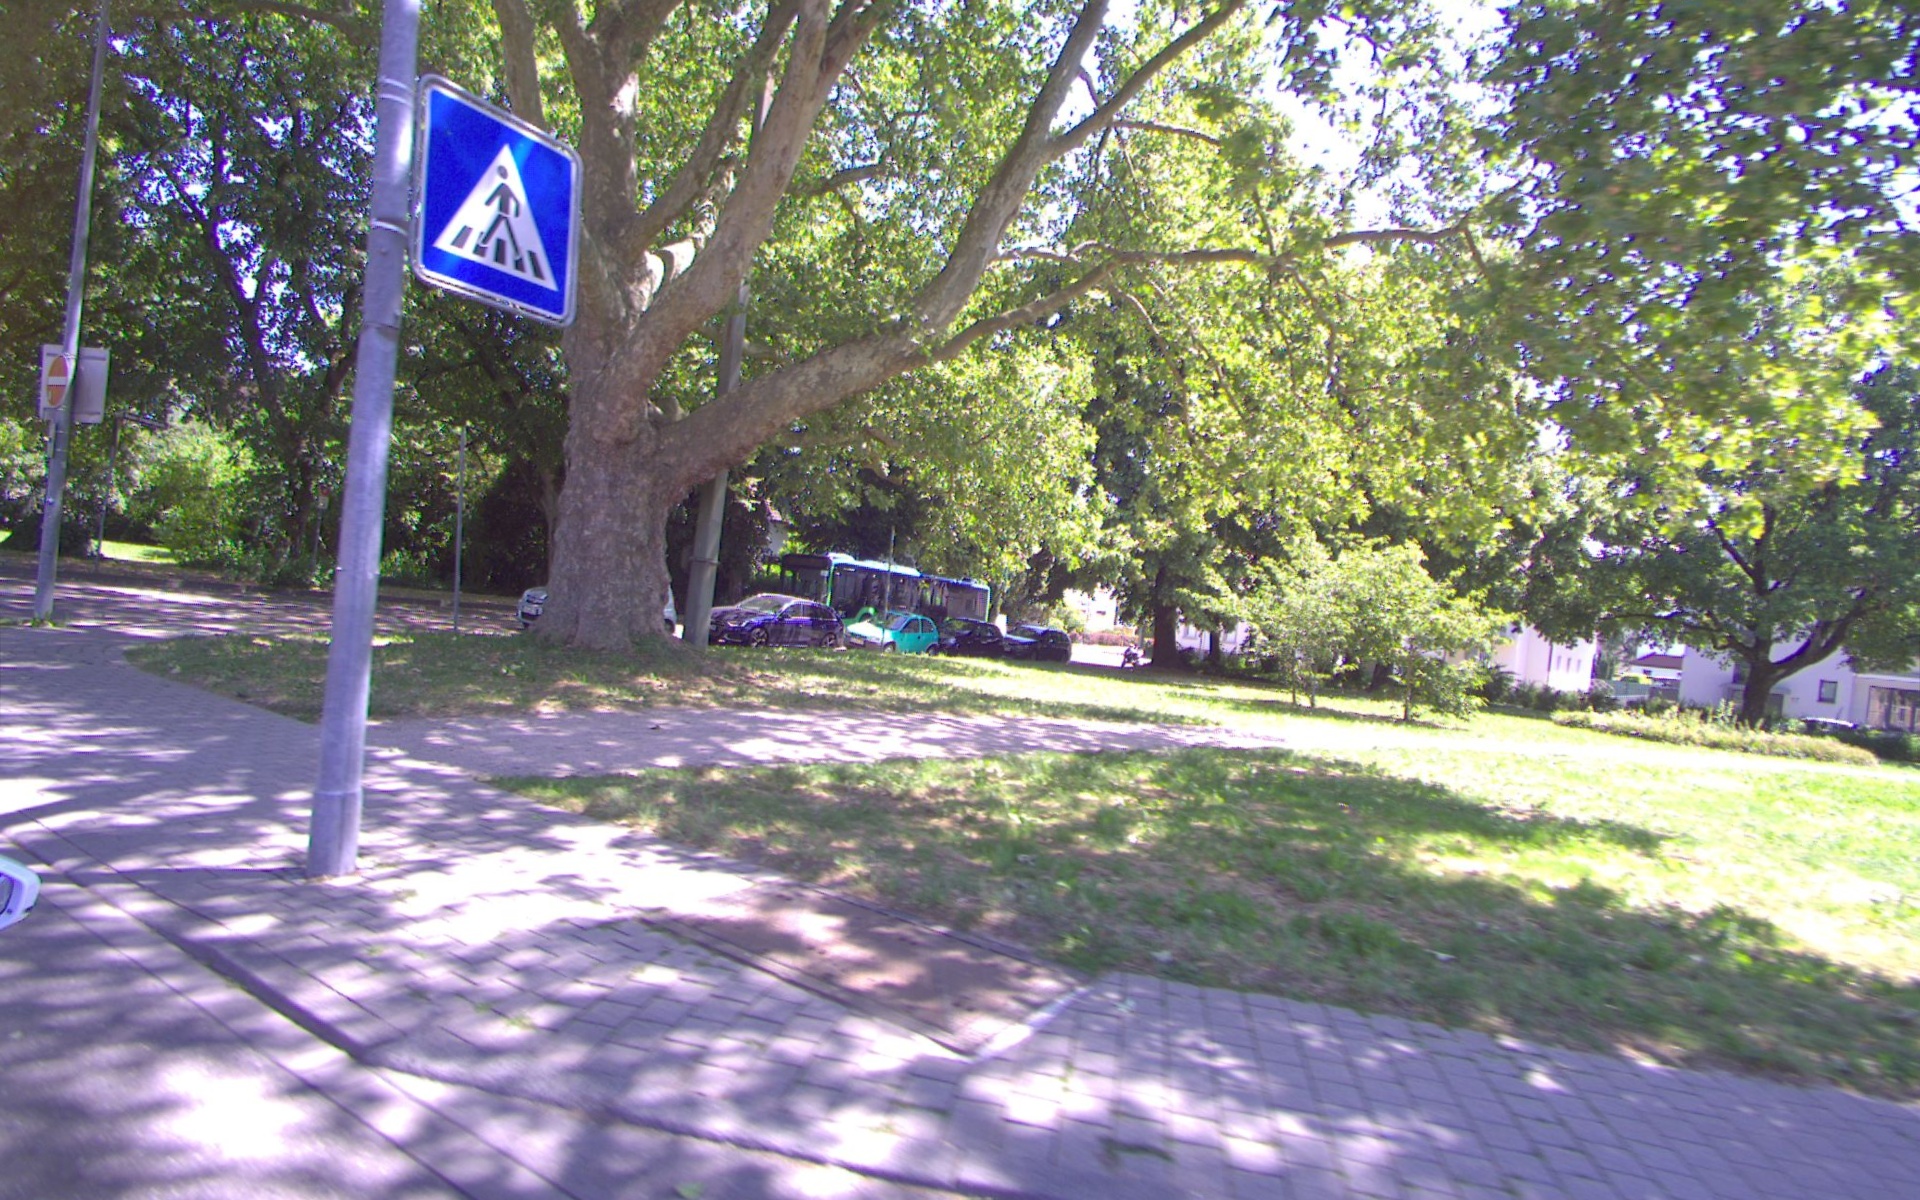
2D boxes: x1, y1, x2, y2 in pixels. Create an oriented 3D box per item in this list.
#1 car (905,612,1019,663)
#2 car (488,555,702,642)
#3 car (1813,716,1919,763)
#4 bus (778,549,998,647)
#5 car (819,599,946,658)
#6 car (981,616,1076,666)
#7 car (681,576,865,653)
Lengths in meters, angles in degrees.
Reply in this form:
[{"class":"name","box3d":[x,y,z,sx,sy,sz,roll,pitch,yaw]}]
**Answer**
[{"class":"car","box3d":[0.145,1.369,35.977,1.967,1.433,4.343,5,-2,32]},{"class":"car","box3d":[-8.203,0.018,22.942,1.968,1.484,4.107,7,0,34]},{"class":"car","box3d":[39.926,6.100,44.108,3.658,1.450,1.457,6,0,45]},{"class":"bus","box3d":[-2.518,0.142,42.199,2.231,3.013,12.394,5,-1,31]},{"class":"car","box3d":[-2.370,0.924,31.705,1.967,1.471,3.886,5,-2,32]},{"class":"car","box3d":[2.813,1.664,40.447,1.968,1.627,4.102,5,-2,33]},{"class":"car","box3d":[-4.913,0.452,27.179,1.968,1.627,4.827,6,0,33]}]
